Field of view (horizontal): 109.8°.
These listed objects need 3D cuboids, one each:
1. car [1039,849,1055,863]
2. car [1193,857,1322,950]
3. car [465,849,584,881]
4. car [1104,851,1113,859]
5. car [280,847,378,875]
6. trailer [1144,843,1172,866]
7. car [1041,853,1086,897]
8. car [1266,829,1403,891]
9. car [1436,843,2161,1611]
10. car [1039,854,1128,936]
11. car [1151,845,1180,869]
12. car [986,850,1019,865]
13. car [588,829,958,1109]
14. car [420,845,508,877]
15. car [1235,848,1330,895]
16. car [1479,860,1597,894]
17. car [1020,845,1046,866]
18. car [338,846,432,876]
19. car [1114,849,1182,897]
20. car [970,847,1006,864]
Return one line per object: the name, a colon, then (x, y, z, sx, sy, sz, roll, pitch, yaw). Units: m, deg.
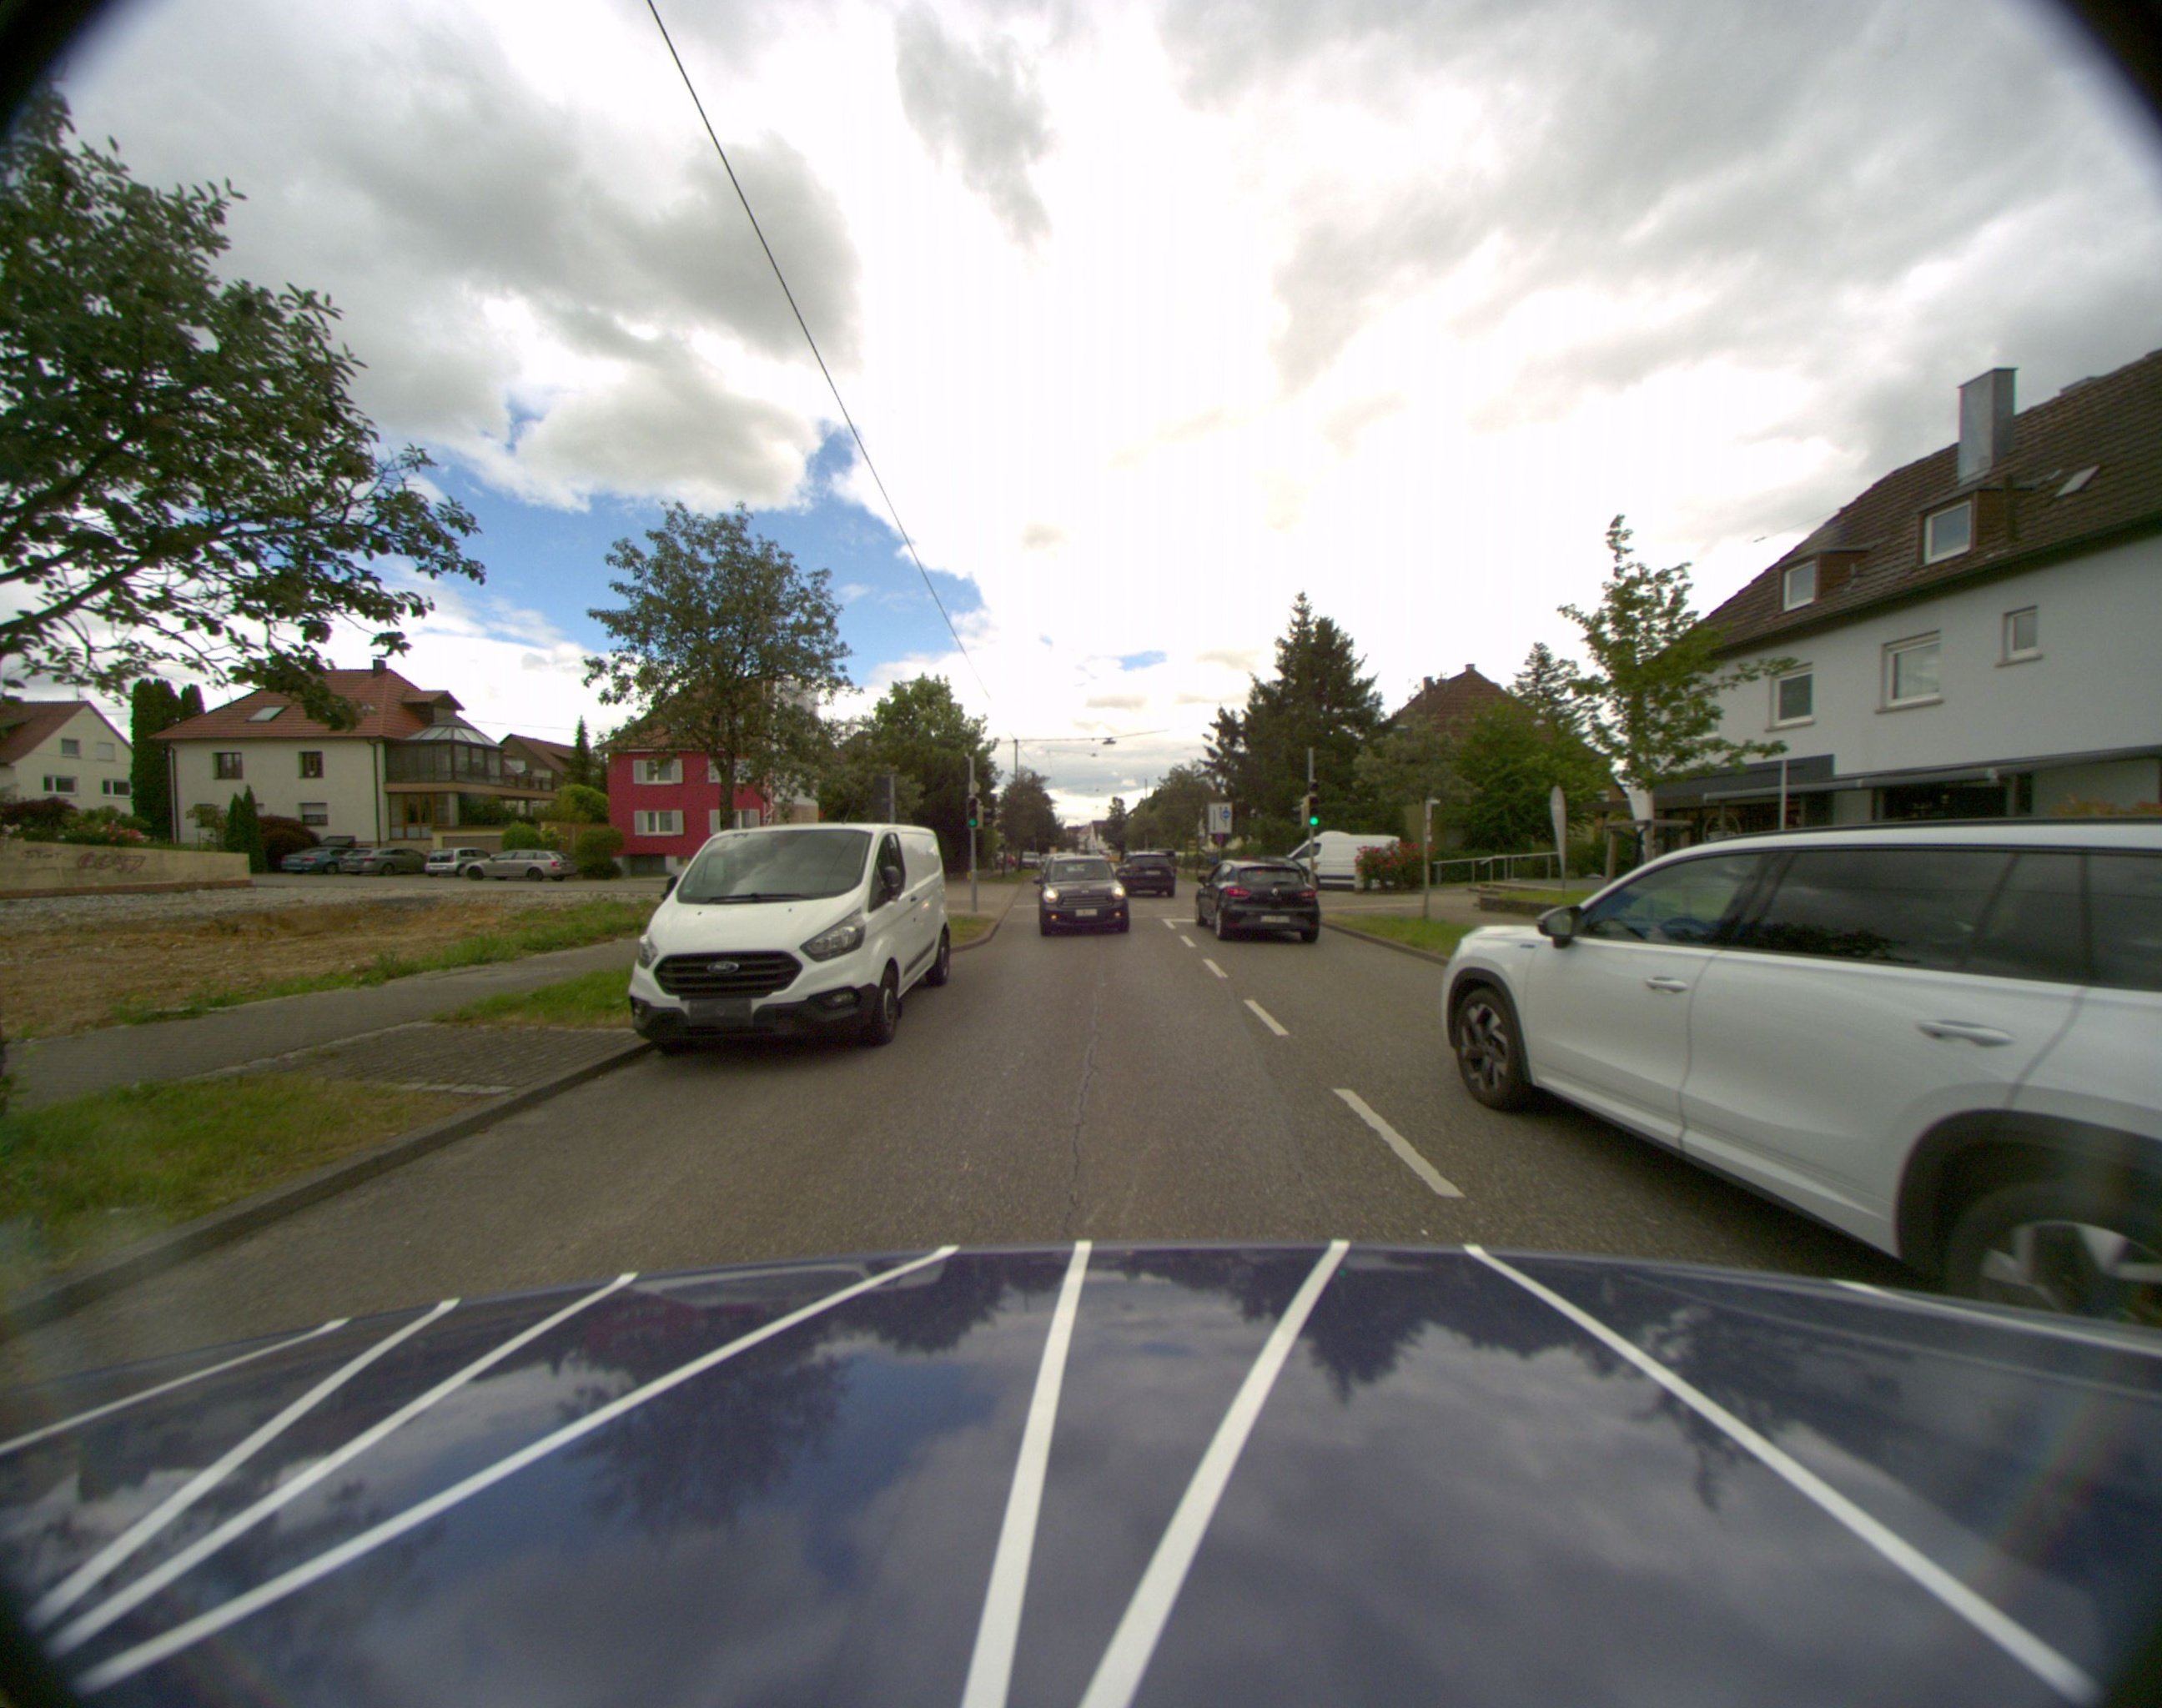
car: (-3.880, 0.188, 87.800, 1.728, 1.582, 4.156, 1, 0, -1)
car: (3.229, 0.832, 14.646, 1.620, 1.463, 4.000, 1, 1, 1)
car: (-25.934, 0.518, 35.522, 4.231, 1.416, 1.760, 1, -1, -1)
car: (5.900, 0.237, 162.187, 1.825, 1.594, 4.299, -4, 0, 3)
car: (-39.104, 0.348, 39.621, 1.621, 1.316, 3.501, -2, 1, -1)
trailer: (7.198, 0.036, 71.591, 2.160, 2.076, 4.425, -1, 0, 0)
car: (-0.663, 0.788, 30.440, 1.590, 1.598, 3.684, 0, 0, 2)
car: (11.316, 0.219, 34.227, 5.611, 2.549, 2.132, 2, 2, 16)
car: (3.285, 0.817, 2.818, 1.818, 1.683, 4.465, 1, 1, 0)
car: (0.117, 0.833, 17.182, 1.743, 1.573, 3.684, -2, 0, 2)
car: (7.104, 0.212, 64.488, 1.998, 1.938, 4.898, 0, 0, 1)
car: (-8.128, 0.355, 79.053, 3.362, 1.451, 1.748, 0, 1, -6)
car: (-2.562, 0.799, 7.771, 1.779, 1.932, 4.788, -2, 0, 0)
car: (-31.893, 0.319, 39.387, 1.621, 1.531, 3.501, -2, 1, -1)
car: (7.760, 0.609, 28.957, 1.994, 1.611, 4.657, 0, 0, 35)
car: (20.246, 1.003, 33.805, 4.127, 1.346, 1.799, 1, -1, 8)
car: (-4.408, 0.121, 70.473, 1.902, 1.826, 4.915, 1, 0, 3)
car: (-36.360, 0.327, 39.822, 1.621, 1.459, 3.501, -2, 1, -1)
car: (2.370, 0.640, 27.864, 1.901, 1.615, 3.998, 0, 0, -3)
car: (-9.287, 0.134, 75.851, 3.361, 1.624, 1.579, 2, 0, -3)
